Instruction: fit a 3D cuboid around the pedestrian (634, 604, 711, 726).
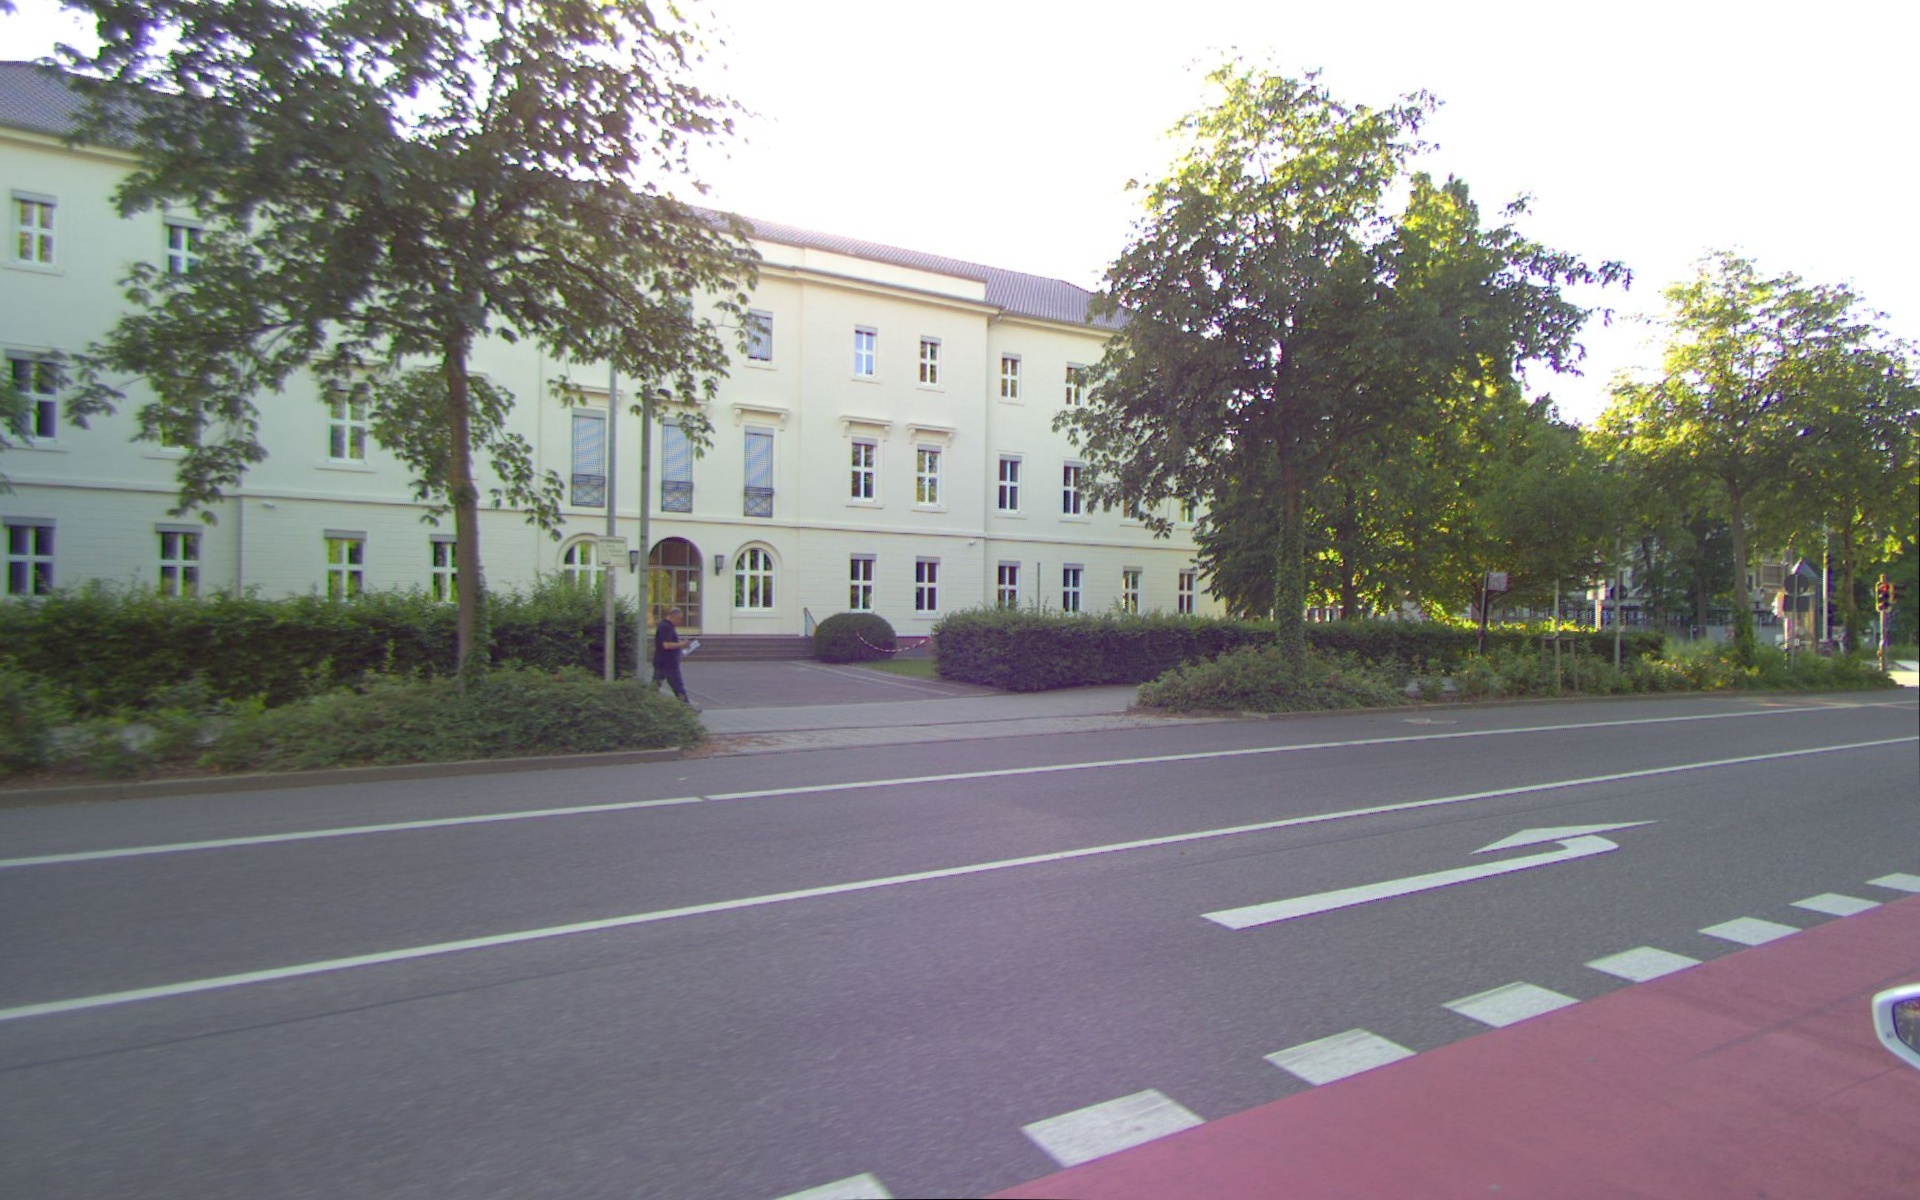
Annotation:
[{"bbox_3d":[-4.603,1.013,16.055,0.990,1.876,0.851,1,-2,-32],"label":"pedestrian"}]
